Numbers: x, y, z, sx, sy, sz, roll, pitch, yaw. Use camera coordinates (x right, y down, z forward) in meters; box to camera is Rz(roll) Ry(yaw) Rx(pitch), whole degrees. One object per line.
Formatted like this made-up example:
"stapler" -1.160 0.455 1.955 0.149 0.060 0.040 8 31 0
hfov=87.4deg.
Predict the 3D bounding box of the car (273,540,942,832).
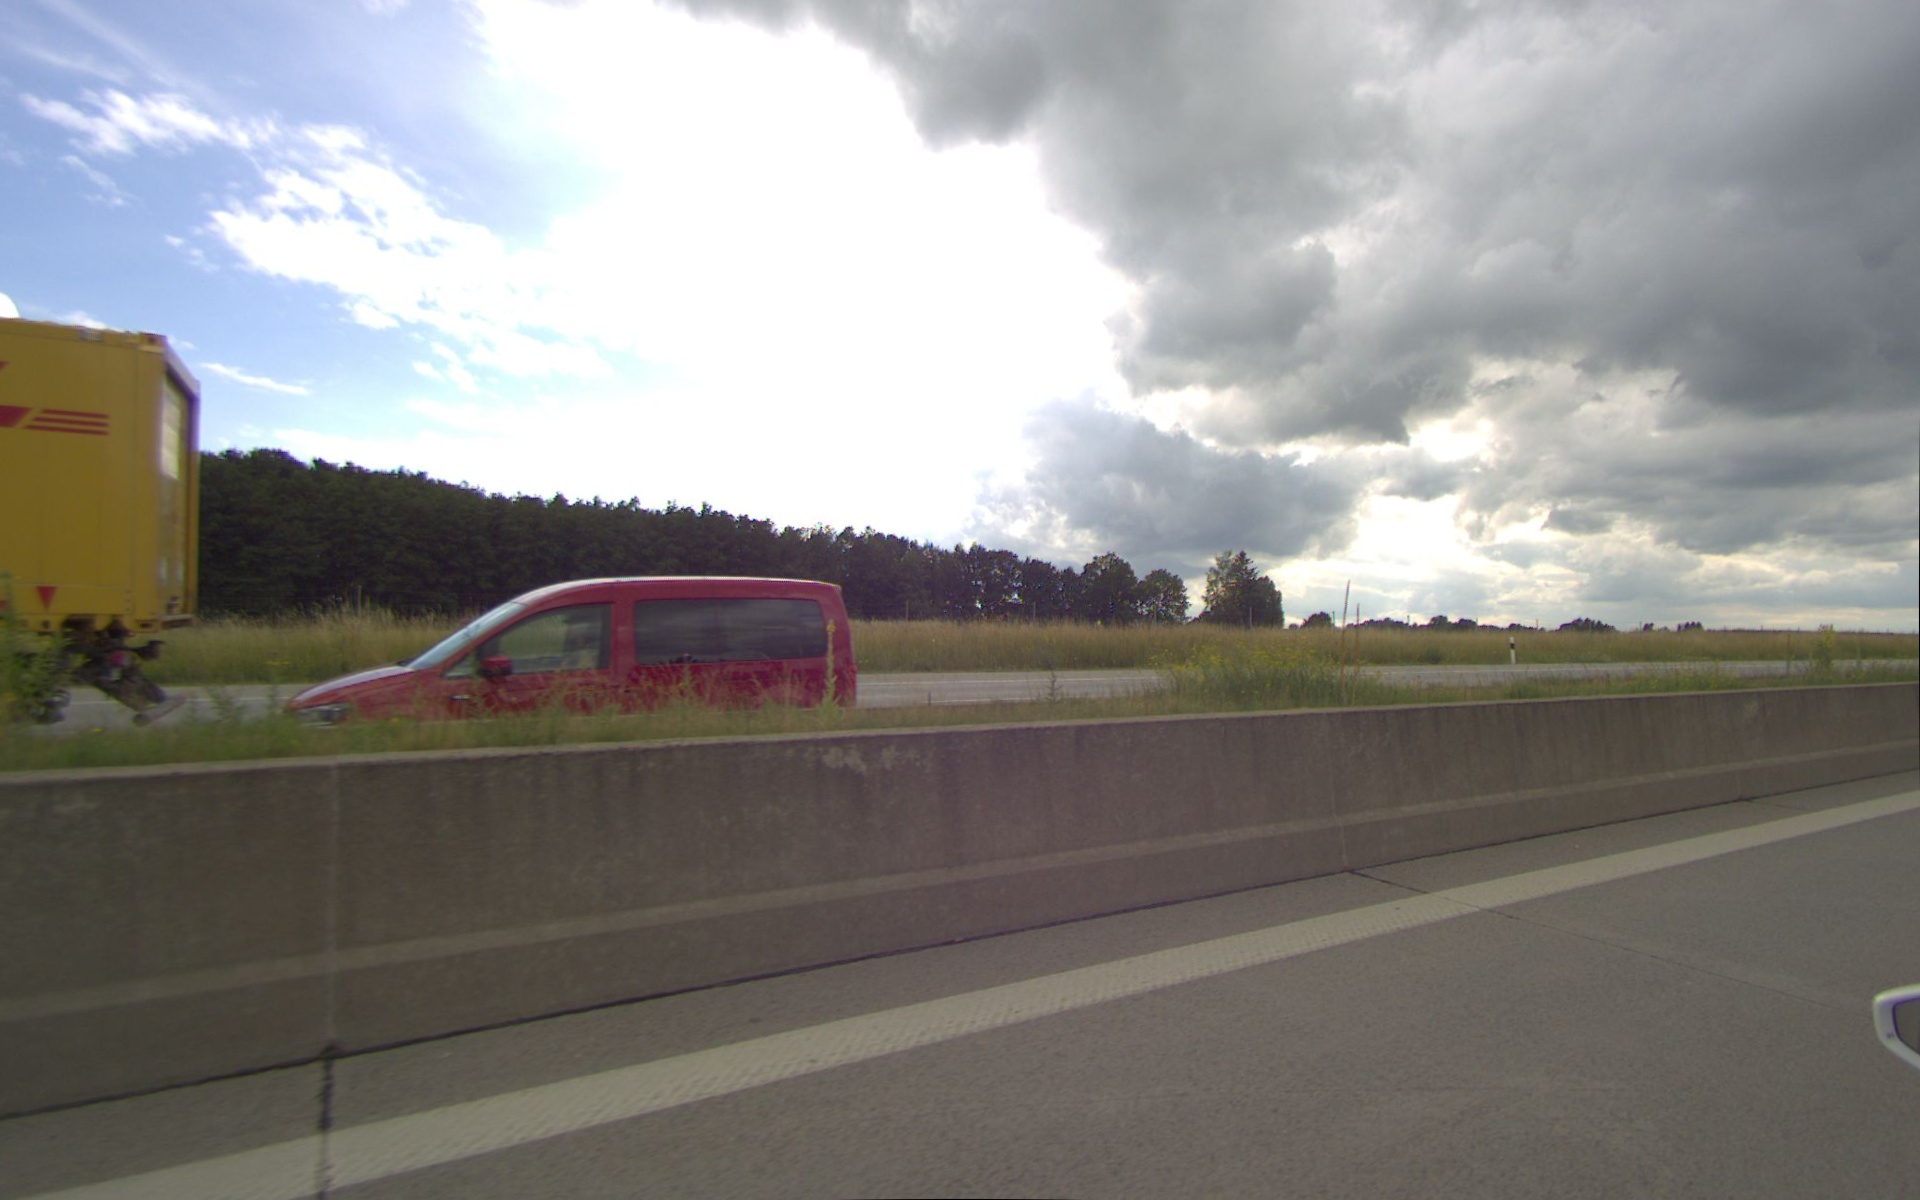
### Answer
"car" -2.897 0.676 9.040 5.282 1.988 1.802 3 -1 -33

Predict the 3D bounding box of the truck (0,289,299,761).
"truck" -11.768 -0.711 8.205 10.449 4.091 2.802 1 -1 -32
